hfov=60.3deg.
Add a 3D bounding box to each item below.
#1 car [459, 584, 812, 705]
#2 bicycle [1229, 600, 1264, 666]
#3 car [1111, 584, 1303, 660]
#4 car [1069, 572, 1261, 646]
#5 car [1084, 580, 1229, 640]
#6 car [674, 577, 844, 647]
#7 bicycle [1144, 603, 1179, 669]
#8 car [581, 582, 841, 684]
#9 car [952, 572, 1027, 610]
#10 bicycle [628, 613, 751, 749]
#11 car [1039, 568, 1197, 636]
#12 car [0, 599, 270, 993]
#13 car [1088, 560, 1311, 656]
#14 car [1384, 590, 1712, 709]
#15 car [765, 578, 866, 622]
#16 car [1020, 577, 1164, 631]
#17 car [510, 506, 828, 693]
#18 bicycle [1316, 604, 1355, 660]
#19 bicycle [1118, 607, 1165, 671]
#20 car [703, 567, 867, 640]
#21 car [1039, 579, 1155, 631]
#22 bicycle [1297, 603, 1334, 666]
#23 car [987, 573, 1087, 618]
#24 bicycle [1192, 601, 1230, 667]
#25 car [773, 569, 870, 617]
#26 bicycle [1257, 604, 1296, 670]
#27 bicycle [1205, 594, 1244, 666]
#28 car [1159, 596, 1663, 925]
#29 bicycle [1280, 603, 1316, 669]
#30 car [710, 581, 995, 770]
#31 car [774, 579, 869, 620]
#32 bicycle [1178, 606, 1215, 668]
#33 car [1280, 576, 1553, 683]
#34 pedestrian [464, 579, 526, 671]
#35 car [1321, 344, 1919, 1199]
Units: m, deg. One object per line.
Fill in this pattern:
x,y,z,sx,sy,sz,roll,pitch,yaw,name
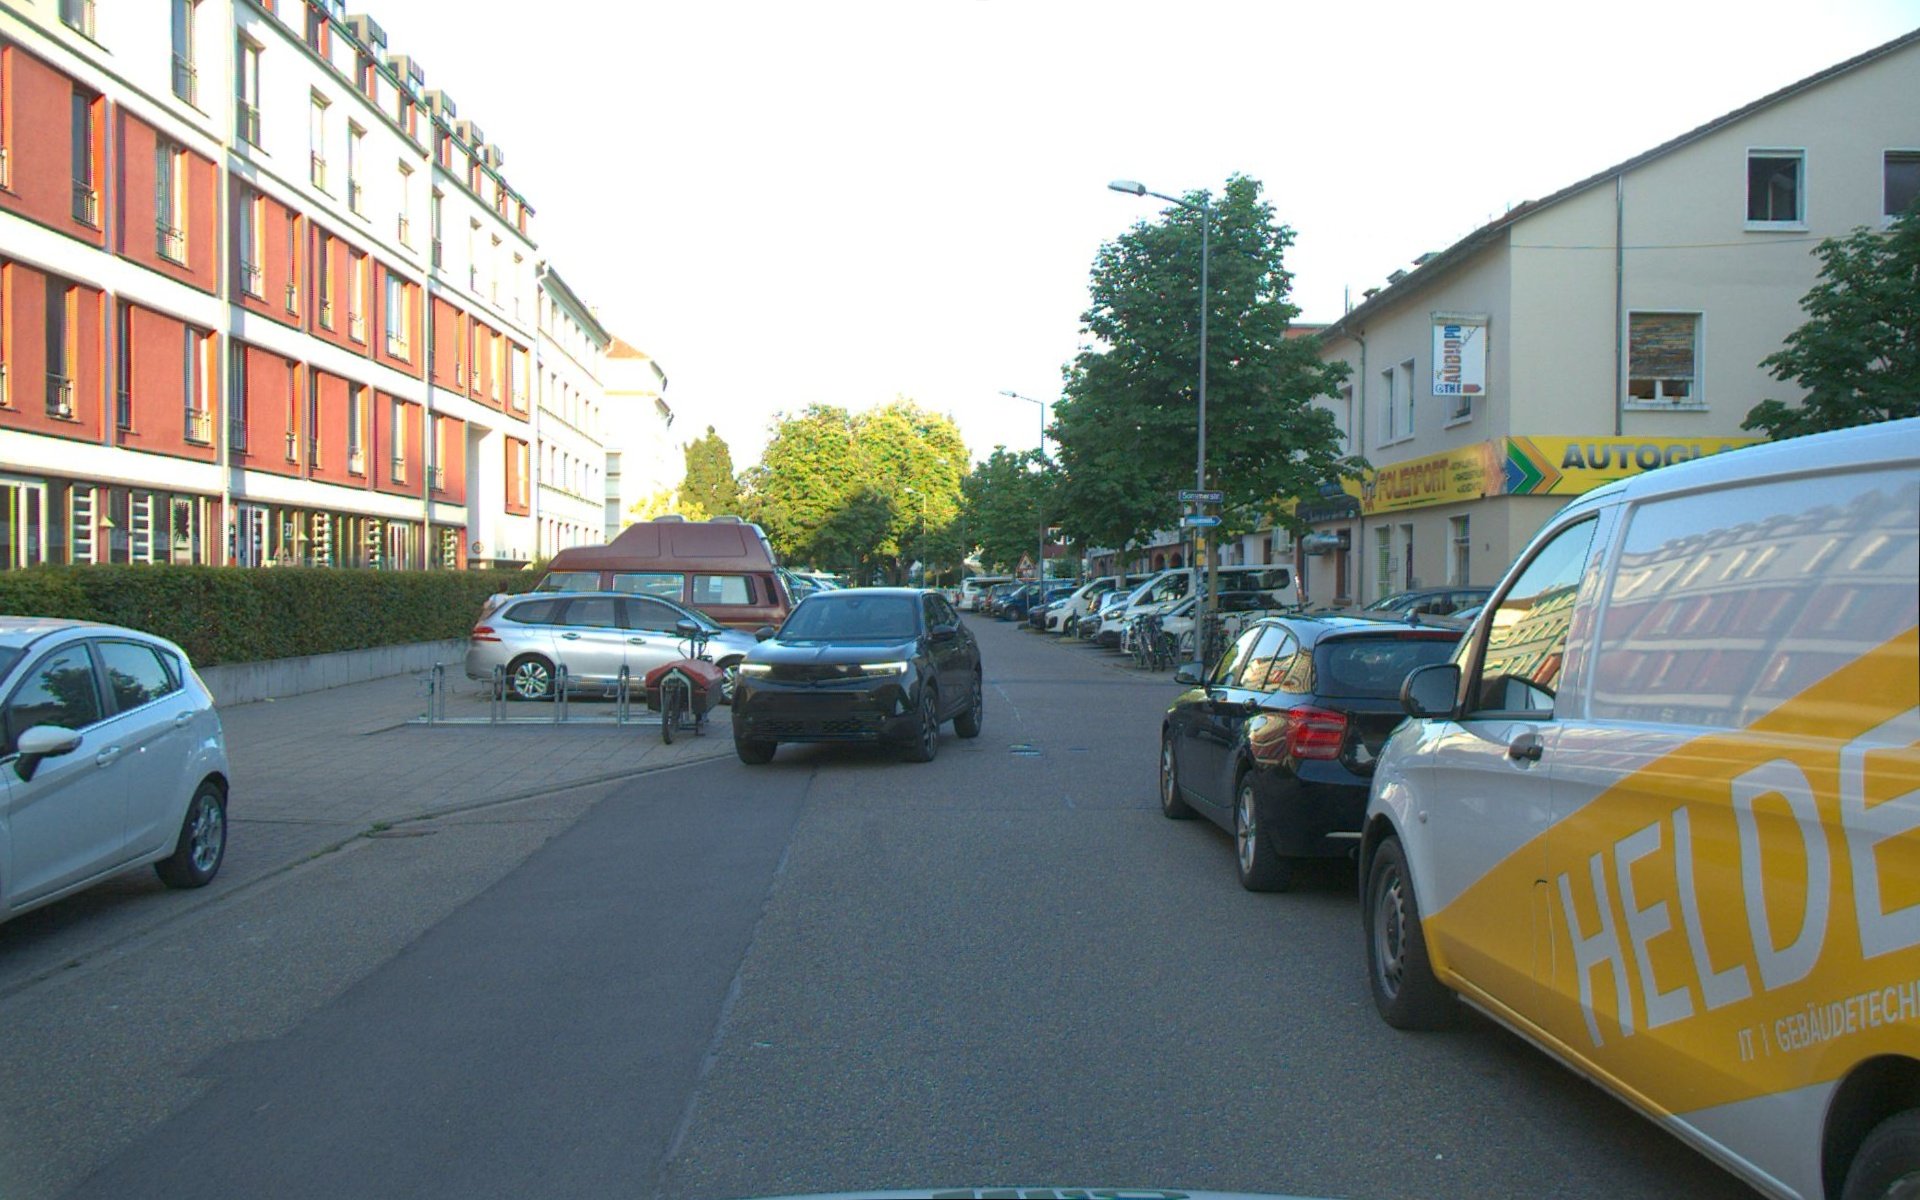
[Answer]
-4.326,0.584,22.685,4.525,1.485,1.879,1,0,-5,car
5.532,0.624,31.954,0.378,1.221,1.481,-1,1,-1,bicycle
5.375,0.458,36.236,3.841,1.476,1.767,-2,1,-4,car
5.449,0.231,44.368,4.843,1.772,2.049,-2,0,-1,car
5.542,0.267,47.004,3.832,1.552,1.939,-2,0,-1,car
-5.209,0.305,43.313,4.170,1.689,2.000,1,0,-1,car
3.886,0.676,32.047,0.378,1.221,2.017,-1,1,-1,bicycle
-4.111,0.538,27.837,4.125,1.565,1.790,1,0,-3,car
1.621,-0.494,92.121,3.892,1.945,2.047,-2,0,-6,car
-2.794,0.794,17.423,0.791,1.242,2.865,1,0,0,bicycle
5.146,0.056,54.277,4.846,1.992,2.048,-2,0,-3,car
-4.791,0.803,7.786,1.618,1.557,4.014,1,0,-4,car
5.580,0.174,39.026,4.888,2.018,2.219,-2,0,-1,car
7.887,0.632,22.360,3.851,1.480,1.656,-1,1,-4,car
-6.184,-0.001,71.298,4.170,1.744,2.000,1,0,-1,car
4.675,0.138,59.110,4.846,1.718,2.076,-2,0,-3,car
-4.346,-0.013,25.260,4.419,2.629,2.000,1,0,0,car
7.268,0.611,32.077,0.380,1.035,1.481,-1,1,-1,bicycle
3.481,0.736,31.852,0.429,1.150,2.014,-1,1,-6,bicycle
-5.255,0.109,50.222,4.752,2.056,1.906,1,0,-2,car
5.286,0.169,64.034,4.231,1.835,1.810,-2,0,-3,car
6.873,0.648,32.023,0.346,1.163,1.481,-1,1,-1,bicycle
3.545,-0.218,76.640,4.393,1.945,1.686,-2,0,-6,car
4.861,0.642,32.087,0.378,1.221,2.017,-1,1,-1,bicycle
-6.545,-0.341,78.698,4.442,2.171,2.000,1,0,-1,car
6.101,0.702,31.935,0.436,1.221,1.481,-1,1,-1,bicycle
5.116,0.553,32.102,0.378,1.327,2.017,-1,1,-1,bicycle
2.331,0.735,9.723,1.686,1.449,4.252,1,1,-1,car
6.522,0.685,31.934,0.346,1.221,1.481,-1,1,-1,bicycle
-0.865,0.614,15.681,1.741,1.544,4.004,-1,0,10,car
-6.345,-0.042,76.066,4.170,1.780,2.000,1,0,-1,car
4.582,0.704,32.095,0.378,1.133,2.017,-1,1,-1,bicycle
7.374,0.453,26.963,3.968,1.540,1.756,-1,2,-1,car
-7.939,0.419,28.259,0.815,1.527,0.798,1,0,-1,pedestrian
2.487,0.526,4.251,1.855,1.917,5.080,1,0,-2,car
